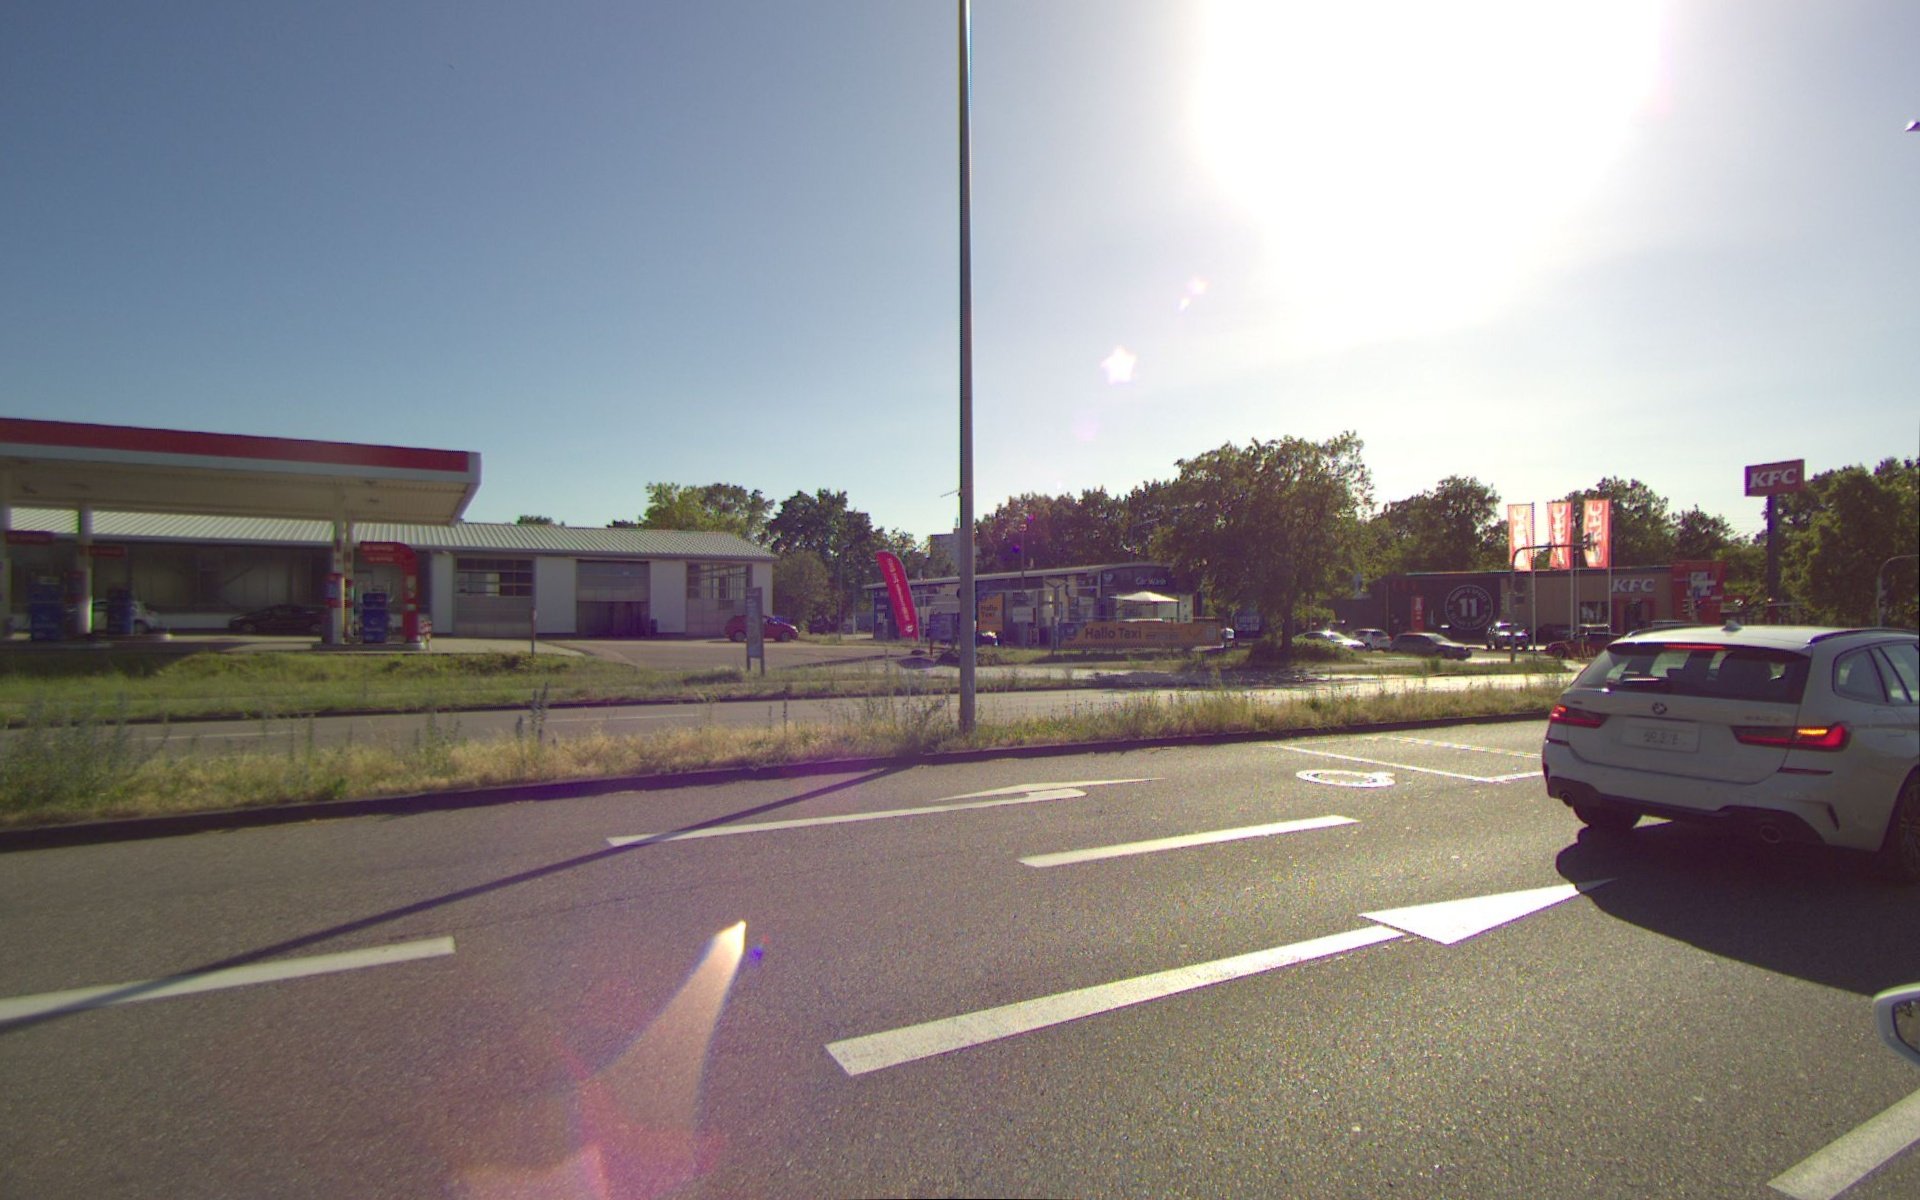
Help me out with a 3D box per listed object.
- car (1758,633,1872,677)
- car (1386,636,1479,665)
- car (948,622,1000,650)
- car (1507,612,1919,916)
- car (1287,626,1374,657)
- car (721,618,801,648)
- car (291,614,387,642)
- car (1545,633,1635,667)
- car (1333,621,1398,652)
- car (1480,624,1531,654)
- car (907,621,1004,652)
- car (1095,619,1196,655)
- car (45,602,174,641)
[{"bbox_3d":[36.720,2.340,43.149,4.254,1.749,1.801,1,0,-18],"label":"car"},{"bbox_3d":[24.643,2.607,52.510,1.850,1.268,4.062,2,0,-31],"label":"car"},{"bbox_3d":[0.771,1.999,56.641,1.516,1.461,3.123,2,0,-31],"label":"car"},{"bbox_3d":[6.039,0.898,7.023,4.542,1.506,1.803,2,0,-30],"label":"car"},{"bbox_3d":[21.602,2.377,58.741,1.914,1.600,4.599,2,0,-31],"label":"car"},{"bbox_3d":[-10.652,1.766,53.775,3.948,1.491,1.521,2,0,-24],"label":"car"},{"bbox_3d":[-28.755,1.295,46.646,3.687,1.203,1.667,2,0,-30],"label":"car"},{"bbox_3d":[33.181,2.615,52.950,3.720,1.579,1.988,1,0,44],"label":"car"},{"bbox_3d":[26.393,2.340,65.504,1.969,1.837,3.757,2,0,-18],"label":"car"},{"bbox_3d":[35.589,2.499,65.658,1.896,1.763,4.099,1,0,14],"label":"car"},{"bbox_3d":[-0.220,1.576,44.581,3.930,1.193,1.774,1,0,32],"label":"car"},{"bbox_3d":[8.234,1.631,44.624,3.941,1.461,1.990,2,0,-21],"label":"car"},{"bbox_3d":[-35.847,0.918,42.495,3.812,1.509,1.984,2,0,-30],"label":"car"}]
